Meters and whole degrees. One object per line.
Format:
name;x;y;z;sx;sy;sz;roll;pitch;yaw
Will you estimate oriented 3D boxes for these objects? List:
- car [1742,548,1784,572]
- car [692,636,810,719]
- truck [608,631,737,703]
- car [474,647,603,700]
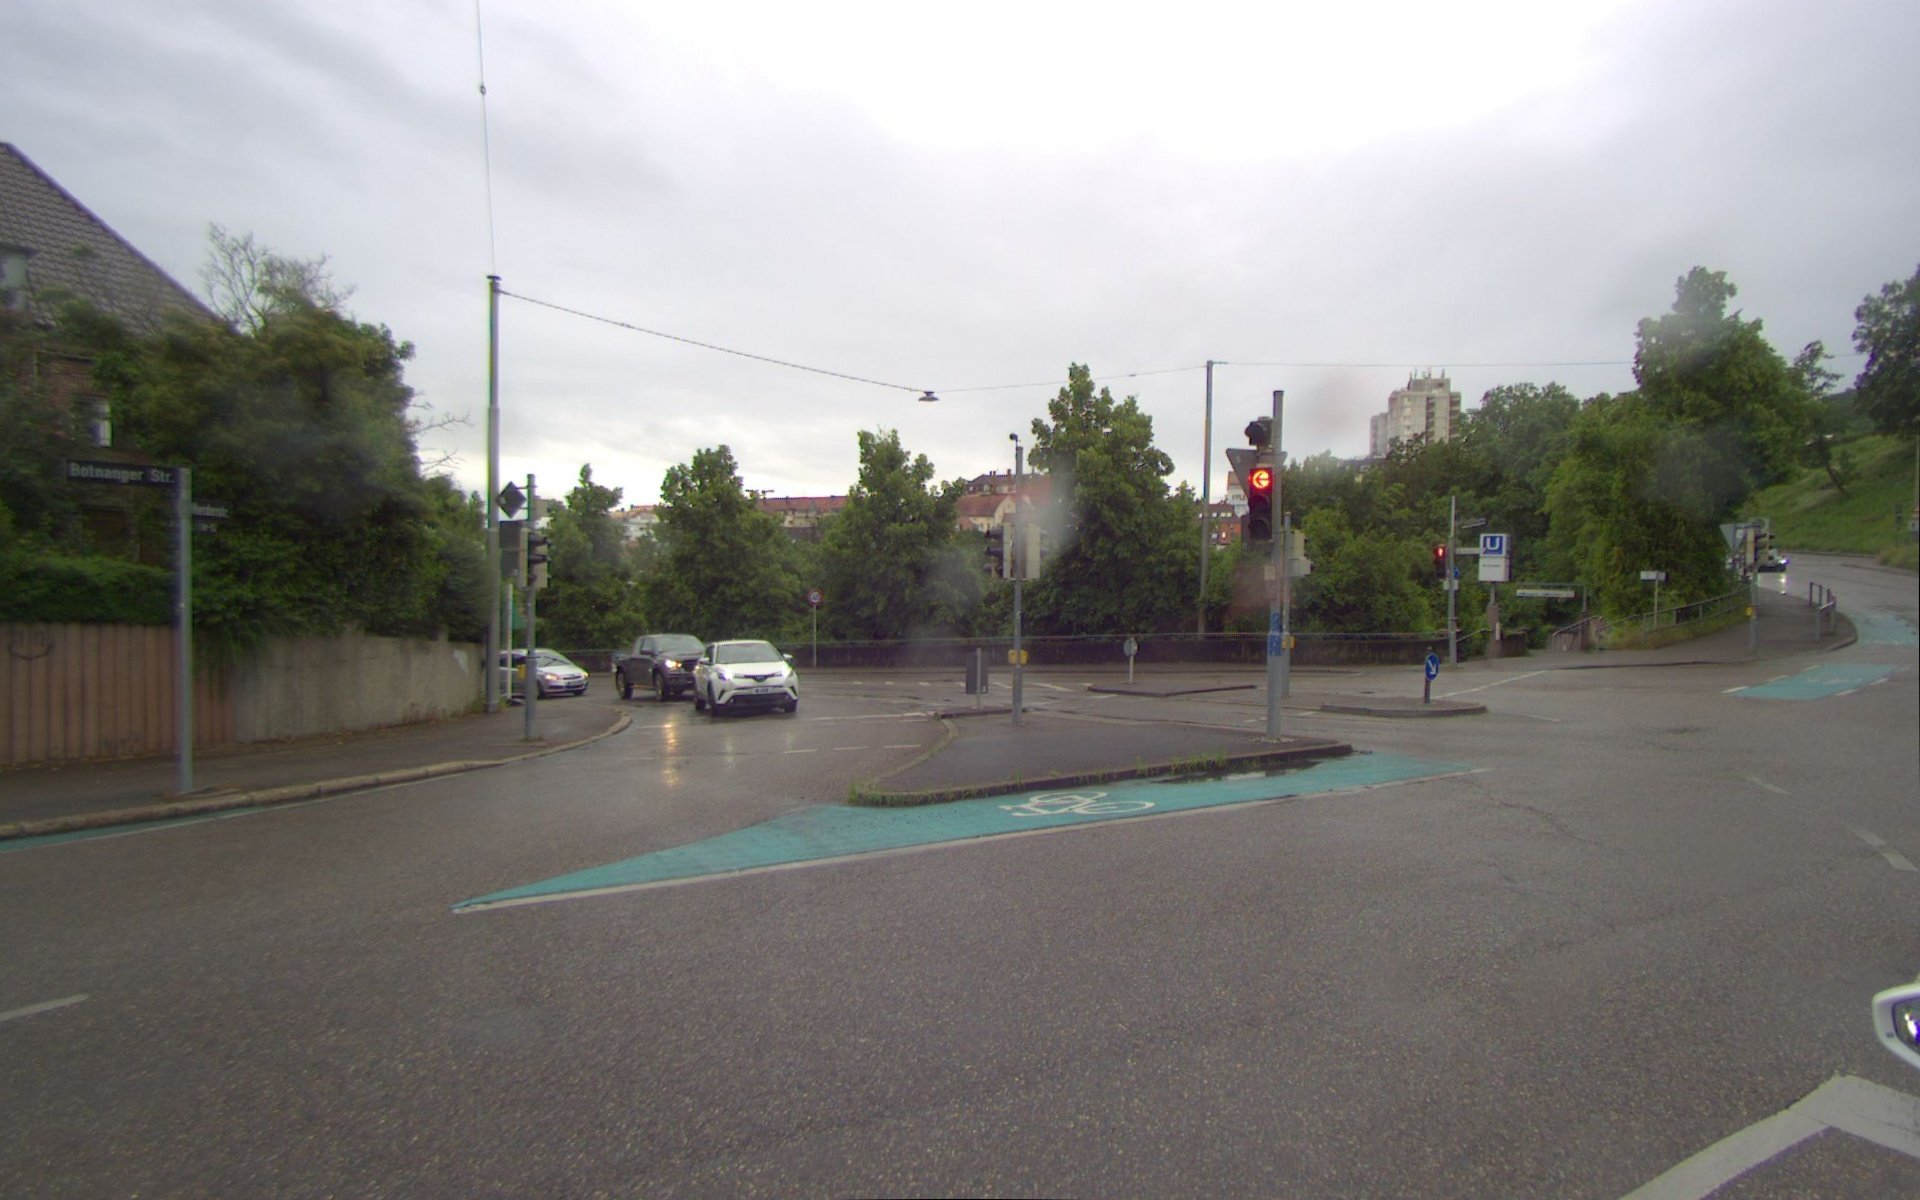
car;53.139;-2.642;66.525;1.931;1.532;4.388;1;3;36
car;-4.585;1.630;21.620;1.810;1.527;3.866;-2;-2;-21
truck;-8.327;1.921;28.768;1.890;1.809;4.940;-2;-3;-36
car;-14.253;2.455;33.949;4.238;1.653;1.853;-2;-1;31
